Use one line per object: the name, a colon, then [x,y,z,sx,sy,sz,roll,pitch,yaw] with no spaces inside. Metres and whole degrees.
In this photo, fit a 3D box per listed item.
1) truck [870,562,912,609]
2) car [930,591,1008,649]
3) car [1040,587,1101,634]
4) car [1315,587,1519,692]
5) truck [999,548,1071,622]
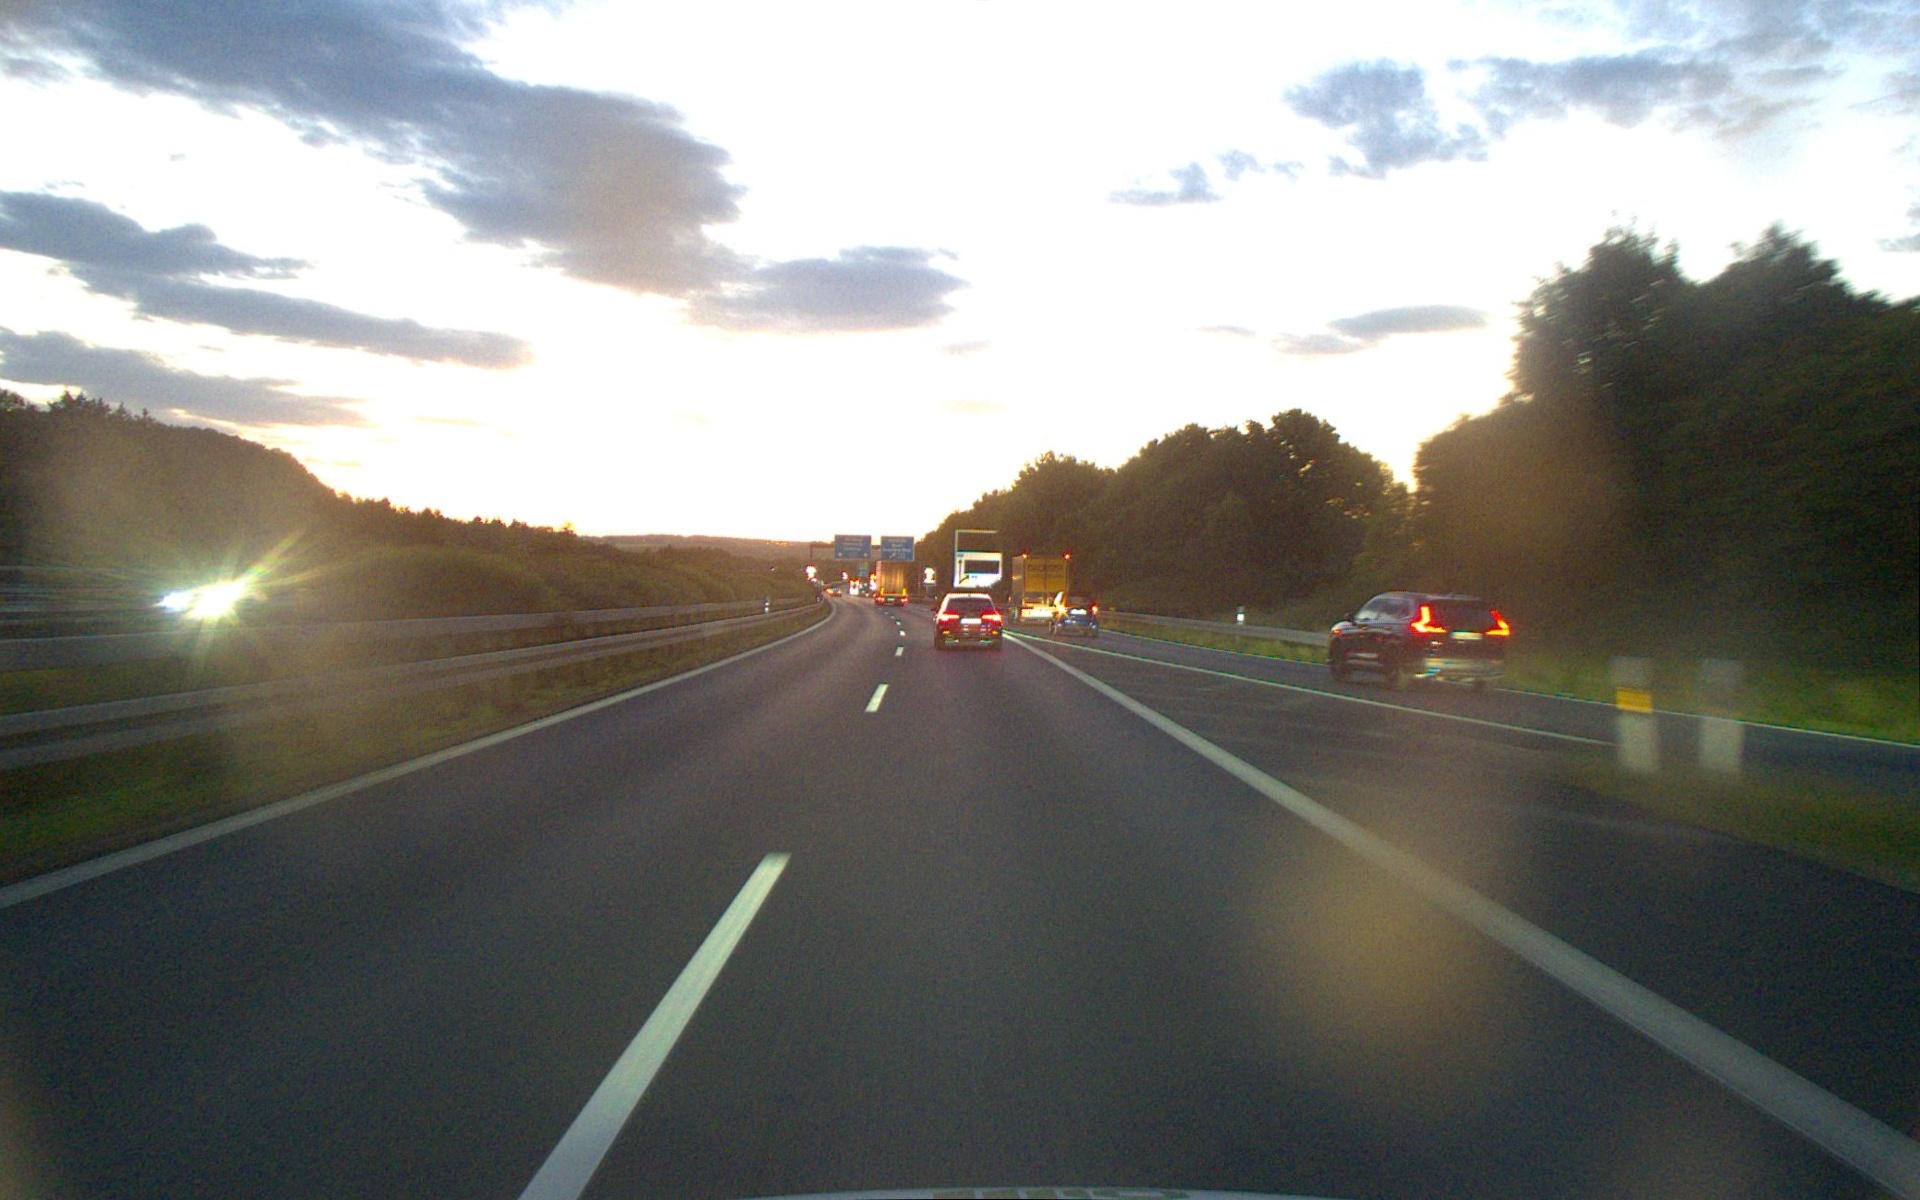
truck: [-6.667,-1.330,158.717,3.442,4.376,9.880,1,0,-5]
car: [0.202,0.530,44.626,1.877,1.467,3.997,1,0,-3]
car: [3.878,0.363,58.609,1.579,1.583,3.314,1,0,-6]
car: [8.099,0.650,29.852,1.763,1.674,5.154,2,0,-6]
truck: [3.296,-0.662,74.213,2.225,3.023,6.624,3,0,-5]
